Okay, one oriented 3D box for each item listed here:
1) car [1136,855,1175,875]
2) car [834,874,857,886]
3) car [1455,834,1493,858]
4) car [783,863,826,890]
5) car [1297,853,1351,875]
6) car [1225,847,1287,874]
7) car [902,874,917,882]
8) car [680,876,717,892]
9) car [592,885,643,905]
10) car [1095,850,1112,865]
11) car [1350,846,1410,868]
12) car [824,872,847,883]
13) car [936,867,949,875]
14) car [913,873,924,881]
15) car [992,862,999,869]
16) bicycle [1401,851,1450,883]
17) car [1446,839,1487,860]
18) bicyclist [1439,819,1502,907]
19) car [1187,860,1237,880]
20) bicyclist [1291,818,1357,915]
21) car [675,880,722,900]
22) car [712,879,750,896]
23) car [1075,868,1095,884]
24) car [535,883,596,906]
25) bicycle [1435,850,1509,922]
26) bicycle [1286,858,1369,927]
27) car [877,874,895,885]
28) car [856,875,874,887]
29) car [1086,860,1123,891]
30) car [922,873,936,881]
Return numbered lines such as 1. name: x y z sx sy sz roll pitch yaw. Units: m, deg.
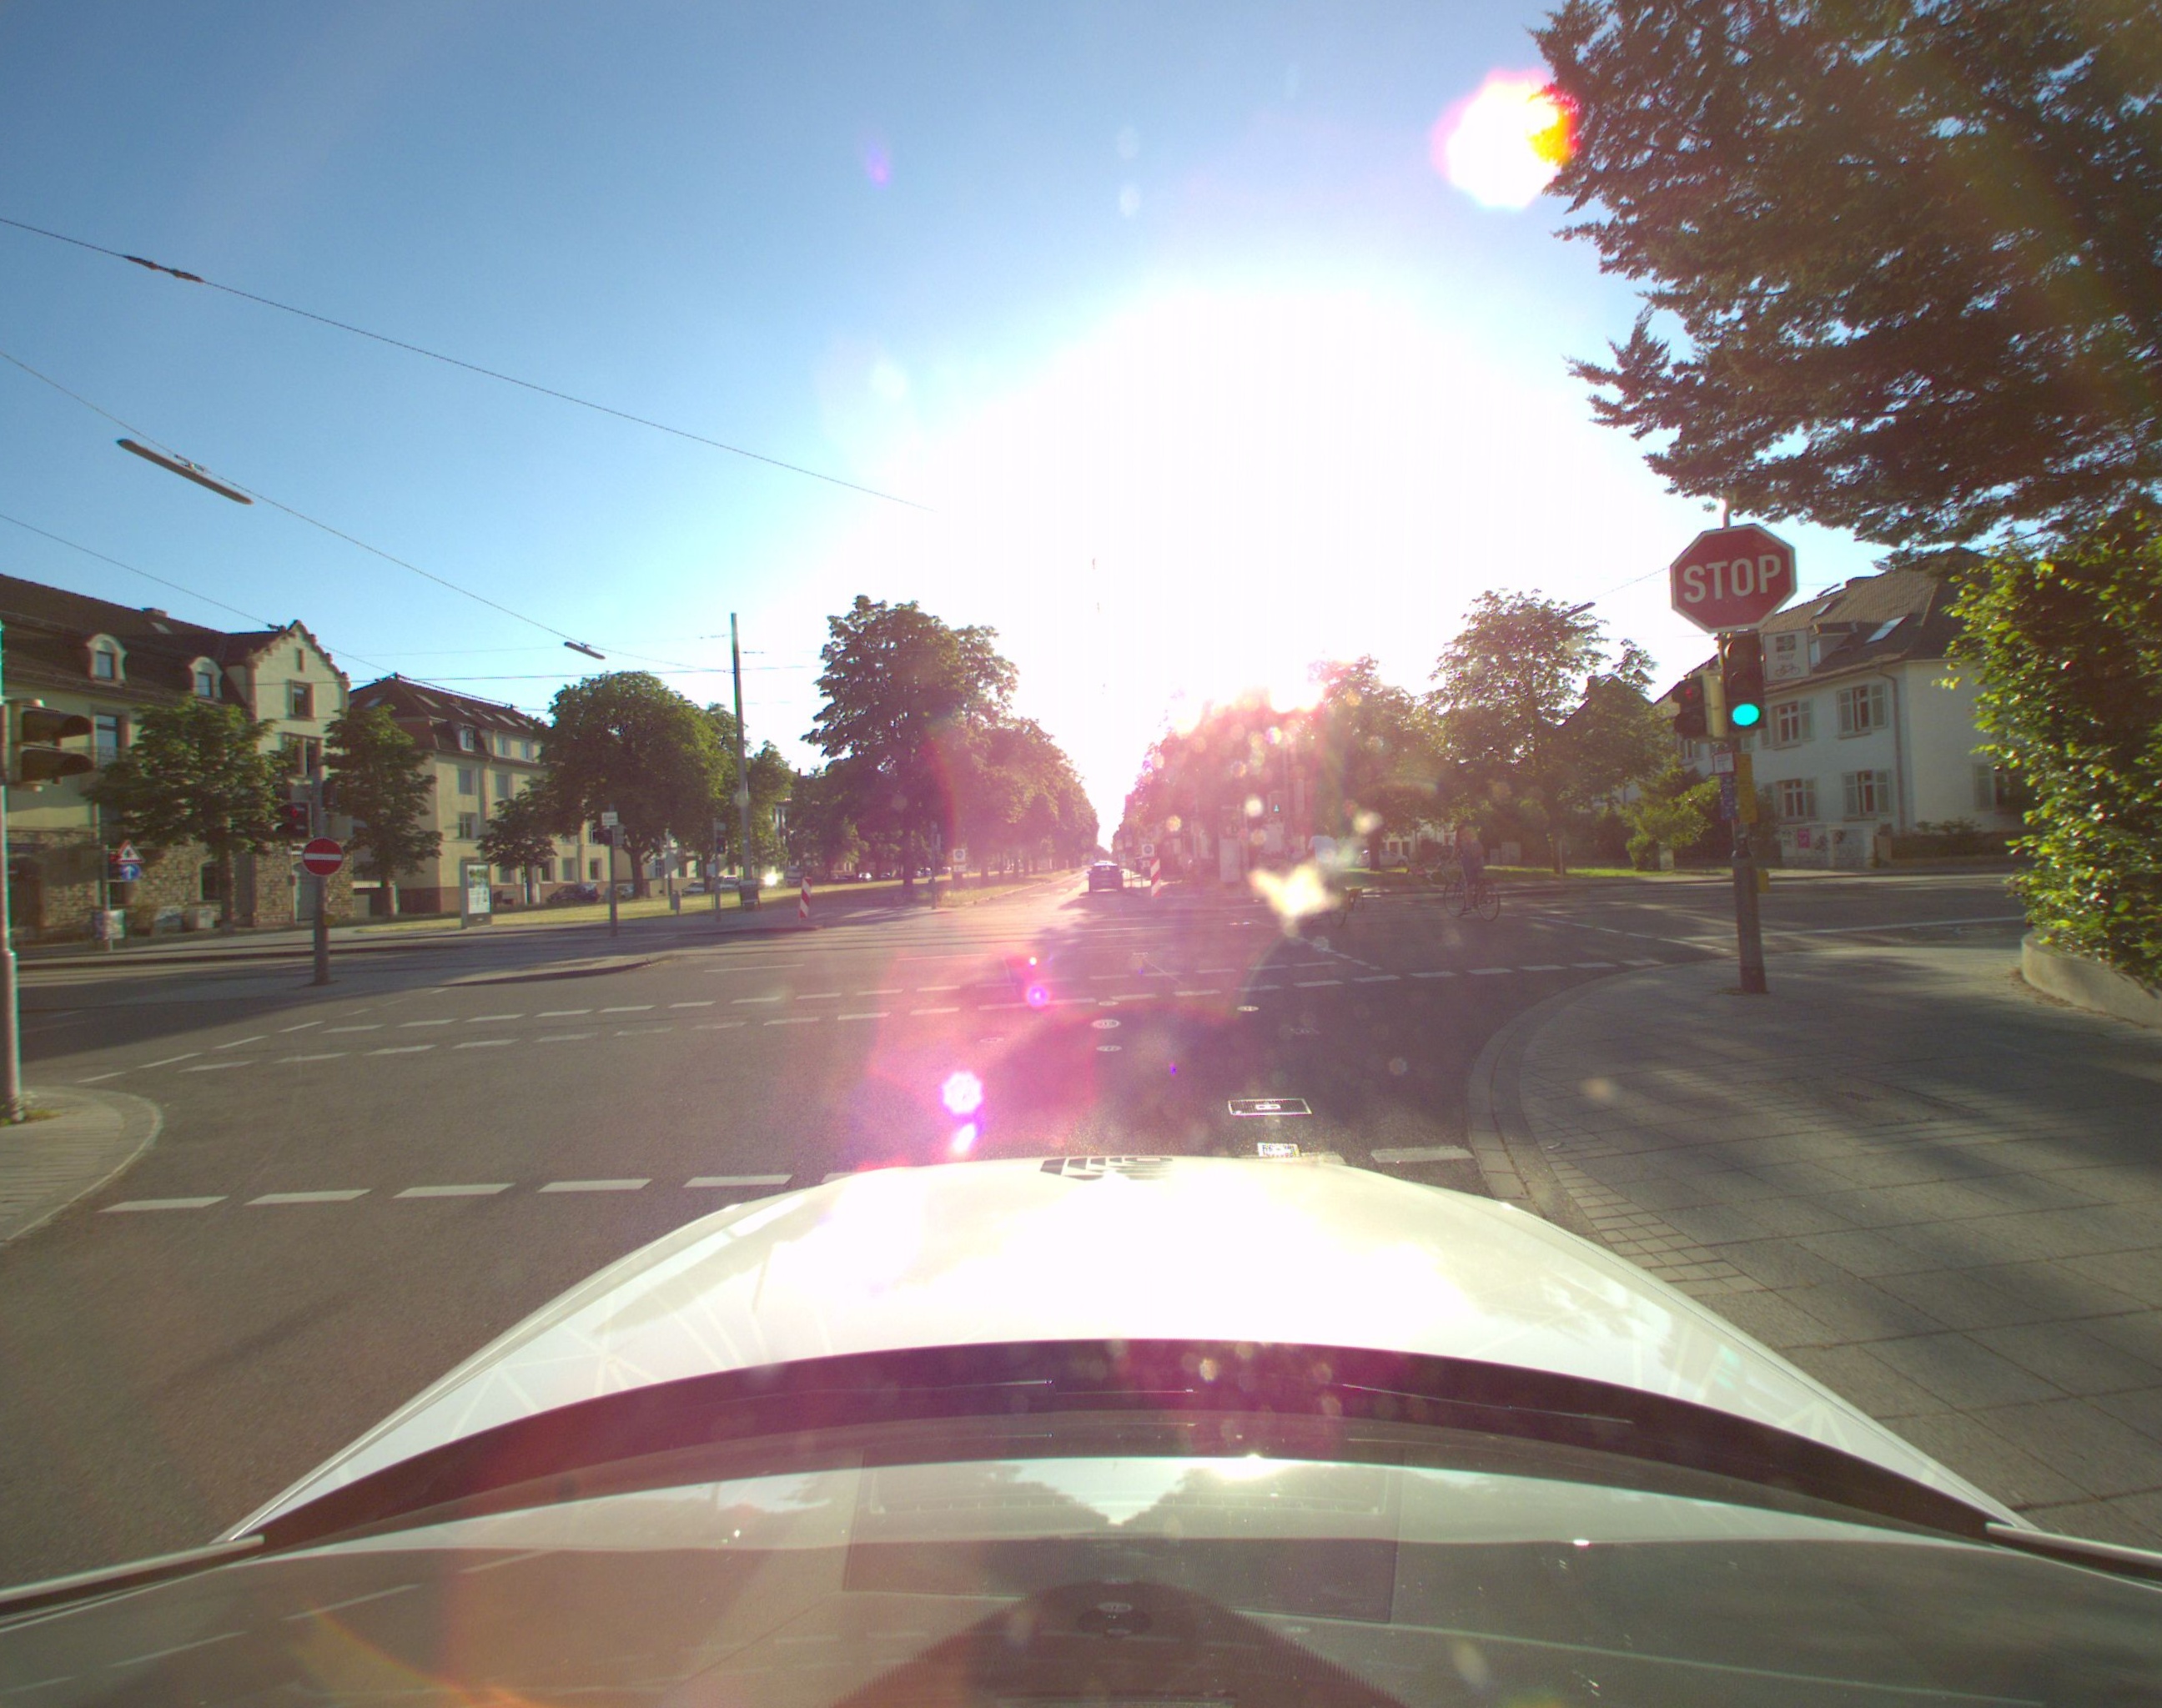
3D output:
1. car: 8.249 1.214 90.322 3.977 1.822 1.757 -3 -7 -3
2. car: -33.427 3.652 115.813 1.872 1.674 4.317 0 -2 3
3. car: 40.578 -0.827 84.050 4.545 2.337 2.087 1 -2 -45
4. car: -33.977 2.717 100.325 2.383 3.131 7.856 0 -1 2
5. car: 18.318 0.772 61.501 3.546 1.516 1.603 -2 -1 -4
6. car: 13.292 0.489 62.037 4.226 1.875 2.031 -2 -2 1
7. car: -36.168 5.028 172.198 1.985 1.659 4.358 0 -2 4
8. car: -40.185 3.182 85.637 1.709 1.633 4.193 0 -2 3
9. car: -40.788 3.584 71.818 1.985 1.659 4.003 0 -2 3
10. car: 2.792 0.459 100.892 1.986 1.781 4.001 0 0 1
11. car: 22.695 0.235 61.862 3.913 1.524 1.522 -1 -3 -4
12. car: -37.949 3.604 126.172 1.985 1.659 4.378 0 -2 4
13. car: -31.782 3.817 186.583 1.986 1.659 4.572 -2 -1 1
14. car: -35.989 5.049 180.050 1.634 1.643 3.854 0 -2 0
15. car: -26.676 3.597 252.963 1.648 1.939 3.568 0 -3 1
16. bicycle: 12.386 0.464 29.305 1.514 1.089 0.468 -3 -2 7
17. car: 32.178 -0.417 67.915 1.974 1.552 4.025 -3 -1 42
18. bicyclist: 7.141 0.173 14.979 0.710 1.562 0.893 0 -2 0
19. car: 11.004 1.360 68.654 3.972 1.447 1.716 -2 -2 1
20. bicyclist: 4.484 0.235 15.083 0.816 1.732 0.889 0 -2 -14
21. car: -35.086 3.286 74.856 1.985 1.659 4.574 0 -2 4
22. car: -34.659 3.270 80.801 1.790 1.554 4.419 0 0 0
23. car: 0.396 2.030 74.942 1.703 1.359 4.204 0 -2 2
24. car: -41.391 3.259 65.526 1.985 1.736 4.315 0 -2 3
25. bicycle: 7.172 0.548 15.035 0.489 1.183 1.965 0 2 3
26. bicycle: 4.520 0.685 15.076 0.573 1.184 1.896 0 -1 -13
27. car: -32.590 4.304 135.982 1.804 1.781 4.124 0 -2 3
28. car: -37.825 4.670 142.570 1.987 2.014 3.999 0 -2 0
29. car: 1.261 1.087 41.597 1.718 1.511 4.544 0 -2 4
30. car: -31.104 4.754 166.707 2.015 1.659 3.986 0 -2 2
